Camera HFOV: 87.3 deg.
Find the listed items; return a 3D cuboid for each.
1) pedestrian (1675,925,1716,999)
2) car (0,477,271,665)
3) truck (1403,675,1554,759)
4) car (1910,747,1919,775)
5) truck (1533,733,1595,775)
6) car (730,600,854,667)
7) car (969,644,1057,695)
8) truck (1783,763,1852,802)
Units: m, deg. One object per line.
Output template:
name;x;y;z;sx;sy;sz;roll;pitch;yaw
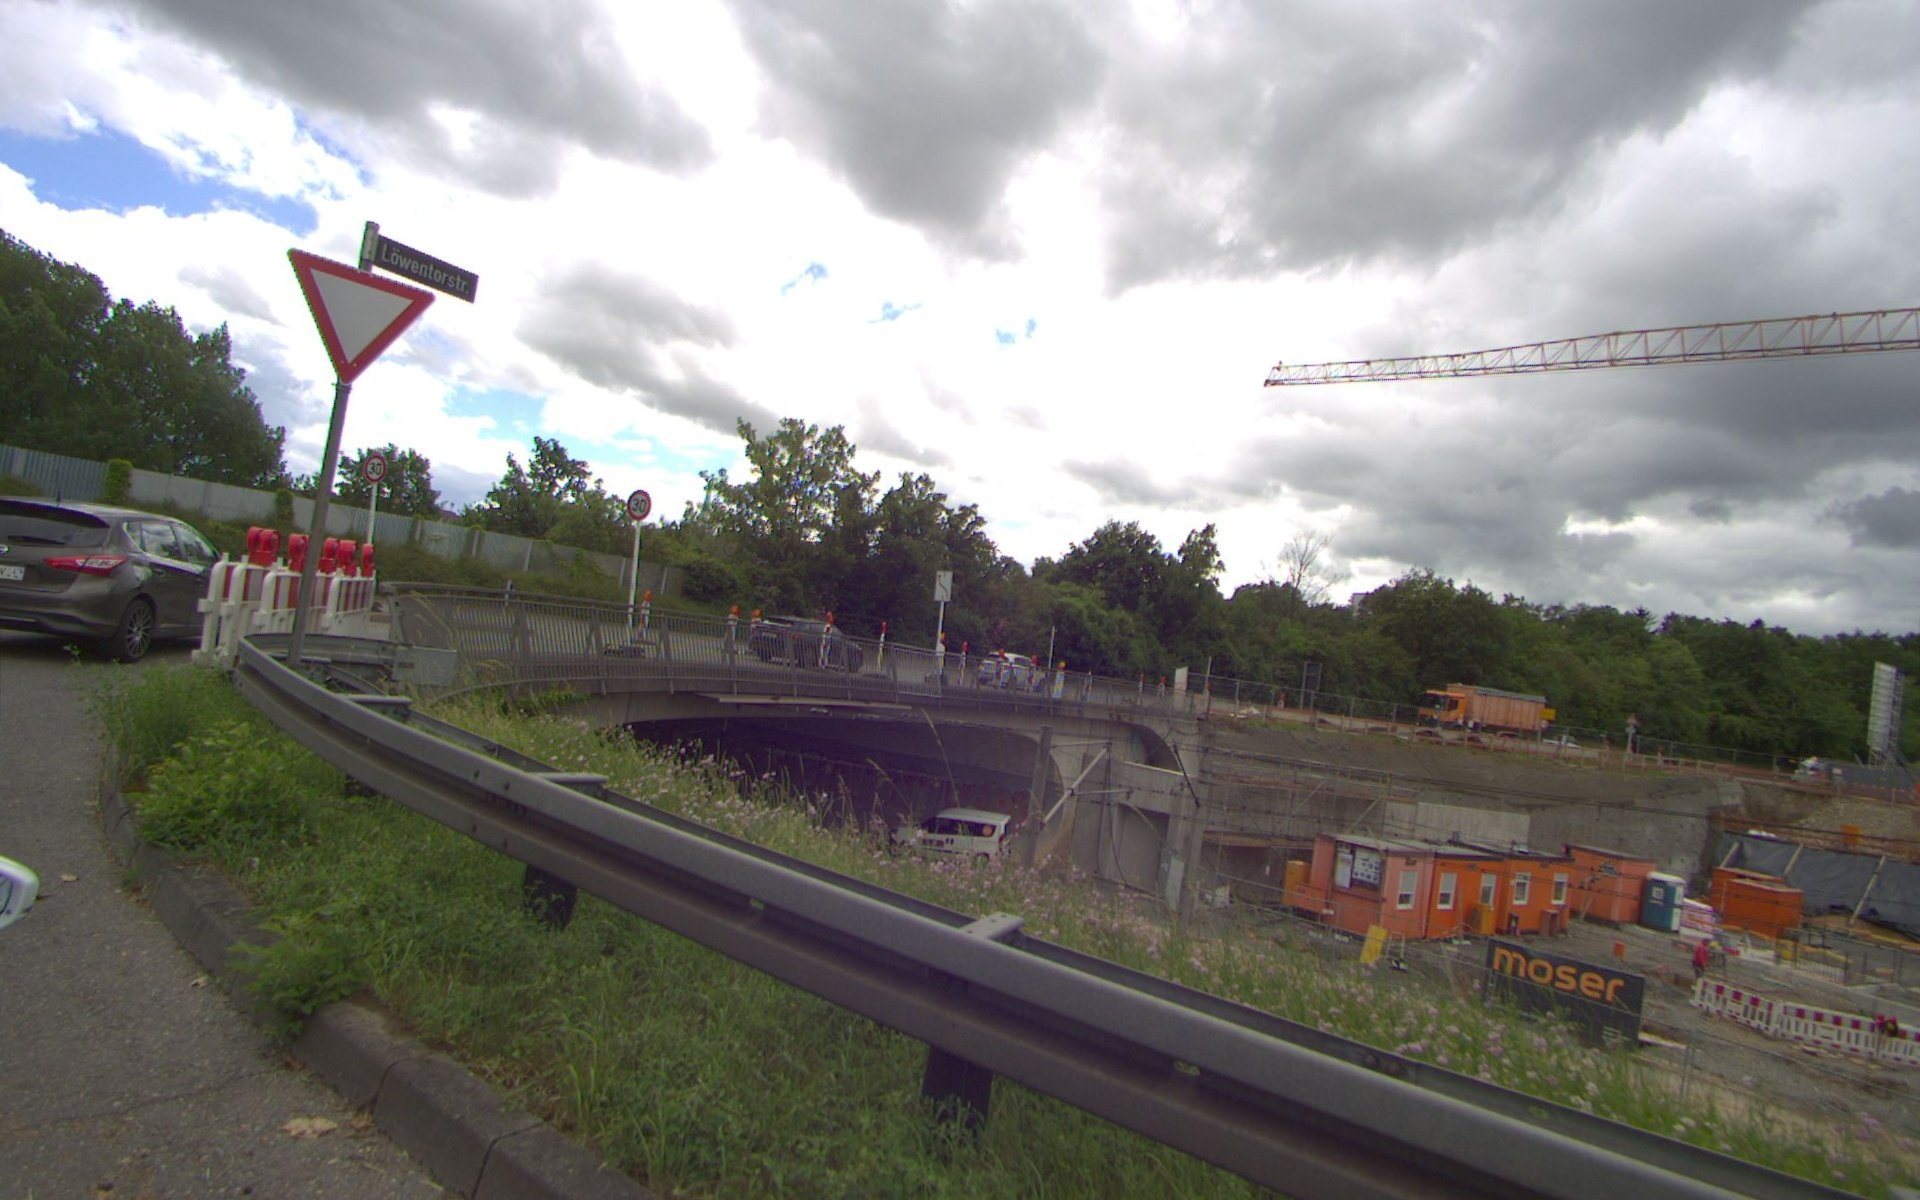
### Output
pedestrian;22.983;11.294;31.436;0.799;2.032;0.696;15;-7;-39
car;-9.236;-0.323;10.900;1.779;1.569;3.984;9;-2;-19
truck;35.632;8.060;69.101;9.661;4.267;3.108;10;-2;-20
car;76.326;12.800;78.084;3.943;2.035;1.995;10;-4;-17
truck;40.194;10.249;66.979;3.185;2.033;1.735;12;-4;-19
car;-5.105;1.071;31.065;1.793;1.569;3.789;8;-2;25
car;2.369;3.052;43.790;1.692;1.692;3.992;6;-5;38
truck;64.623;13.775;75.836;3.945;2.033;1.995;12;-4;-16
